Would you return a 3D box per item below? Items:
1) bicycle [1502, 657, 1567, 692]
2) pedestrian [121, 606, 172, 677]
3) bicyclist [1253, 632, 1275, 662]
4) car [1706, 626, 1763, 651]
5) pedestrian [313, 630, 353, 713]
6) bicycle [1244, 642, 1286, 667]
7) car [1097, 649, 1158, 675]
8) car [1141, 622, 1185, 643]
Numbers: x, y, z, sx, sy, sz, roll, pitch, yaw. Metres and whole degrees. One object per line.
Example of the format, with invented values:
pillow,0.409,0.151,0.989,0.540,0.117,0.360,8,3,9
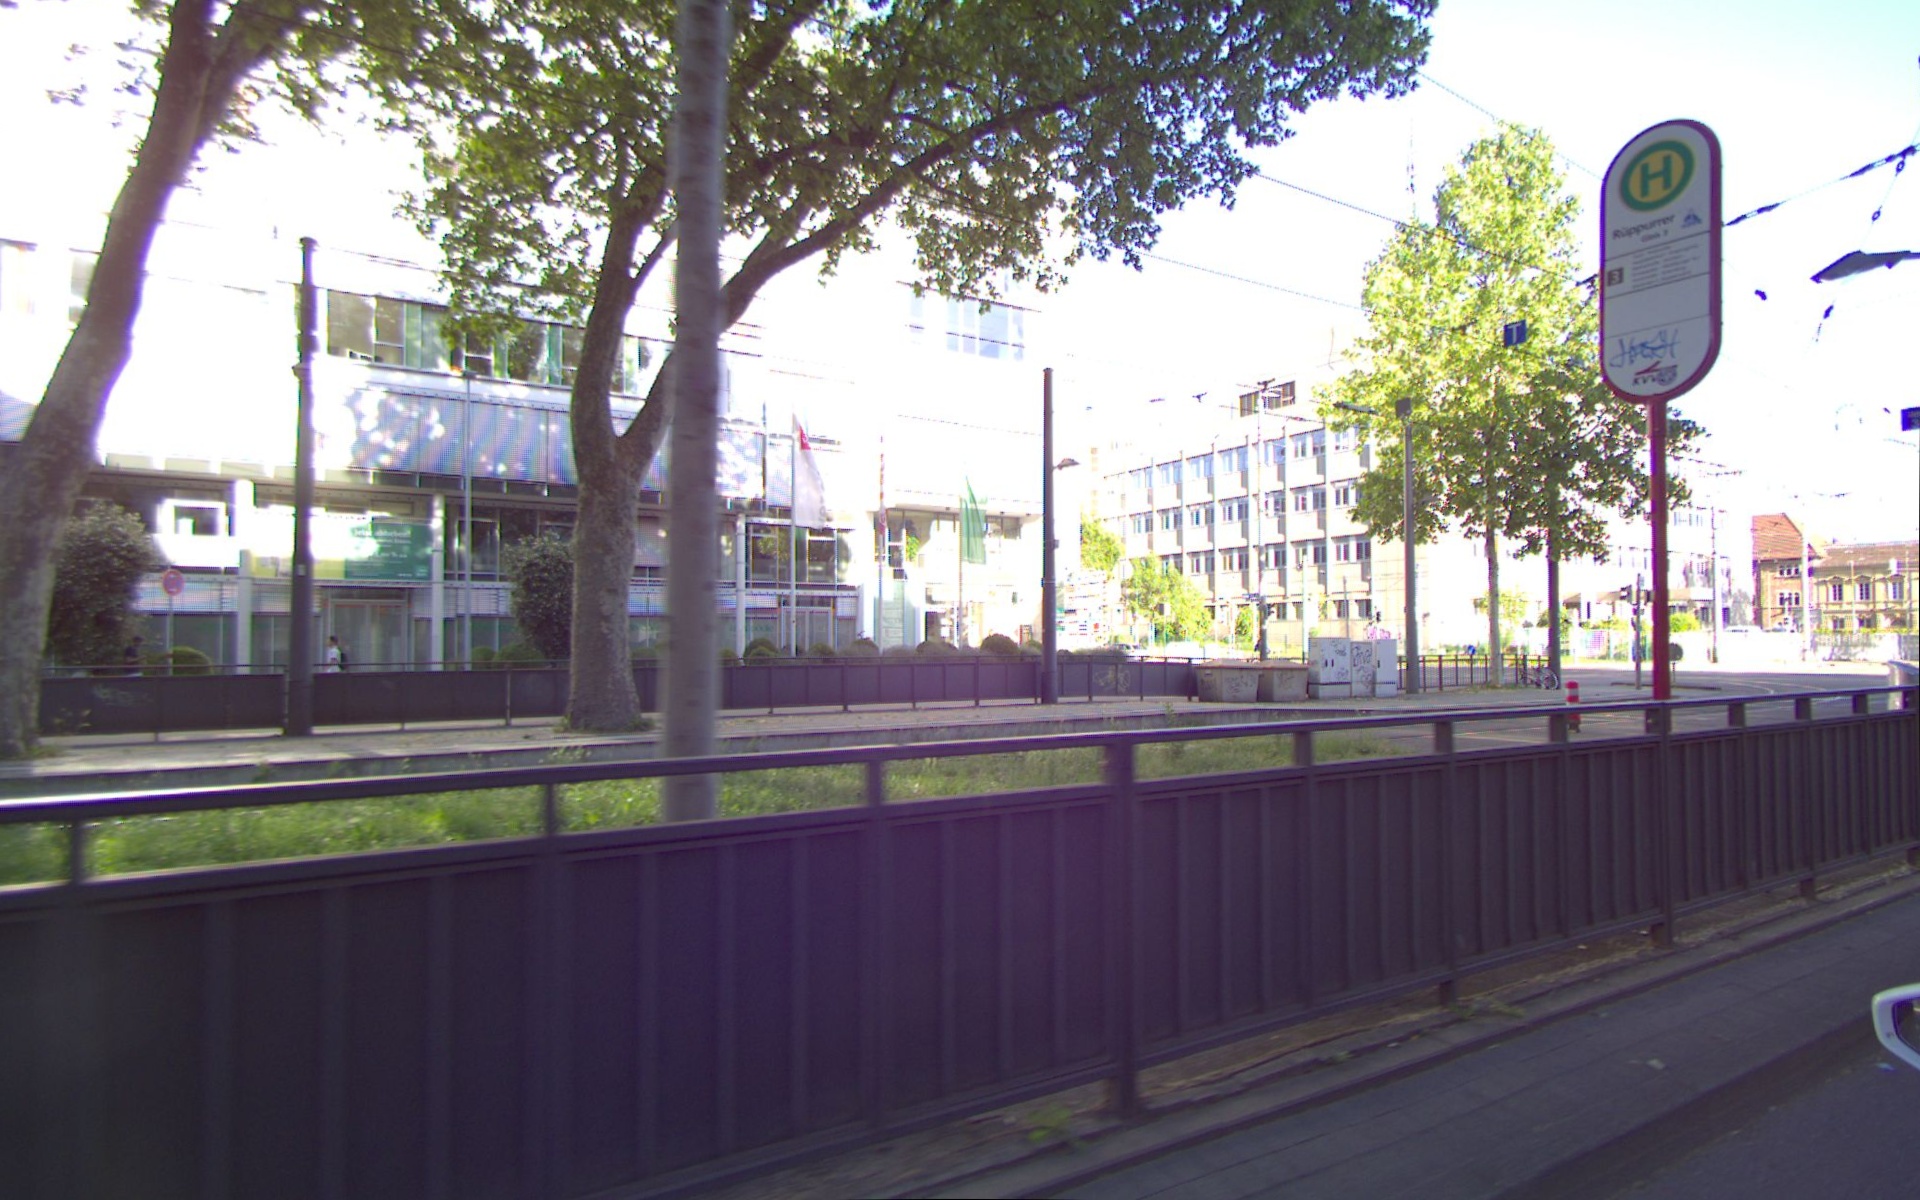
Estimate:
bicycle,16.709,2.157,29.201,1.702,0.958,0.810,1,-2,-25
pedestrian,-18.956,0.973,23.422,0.759,1.613,0.901,1,-2,-31
bicyclist,15.644,2.418,51.688,0.869,1.514,0.719,-1,-2,42
car,65.380,3.264,84.768,4.663,2.040,1.987,1,-2,-27
pedestrian,-15.554,1.748,24.910,0.825,2.002,0.602,0,0,-33
bicycle,15.653,2.791,51.652,2.014,1.205,0.587,-1,-2,43
car,11.858,4.369,71.412,2.090,1.719,3.929,1,-3,-37
car,19.595,3.124,96.916,3.955,2.040,1.983,1,-2,-32
